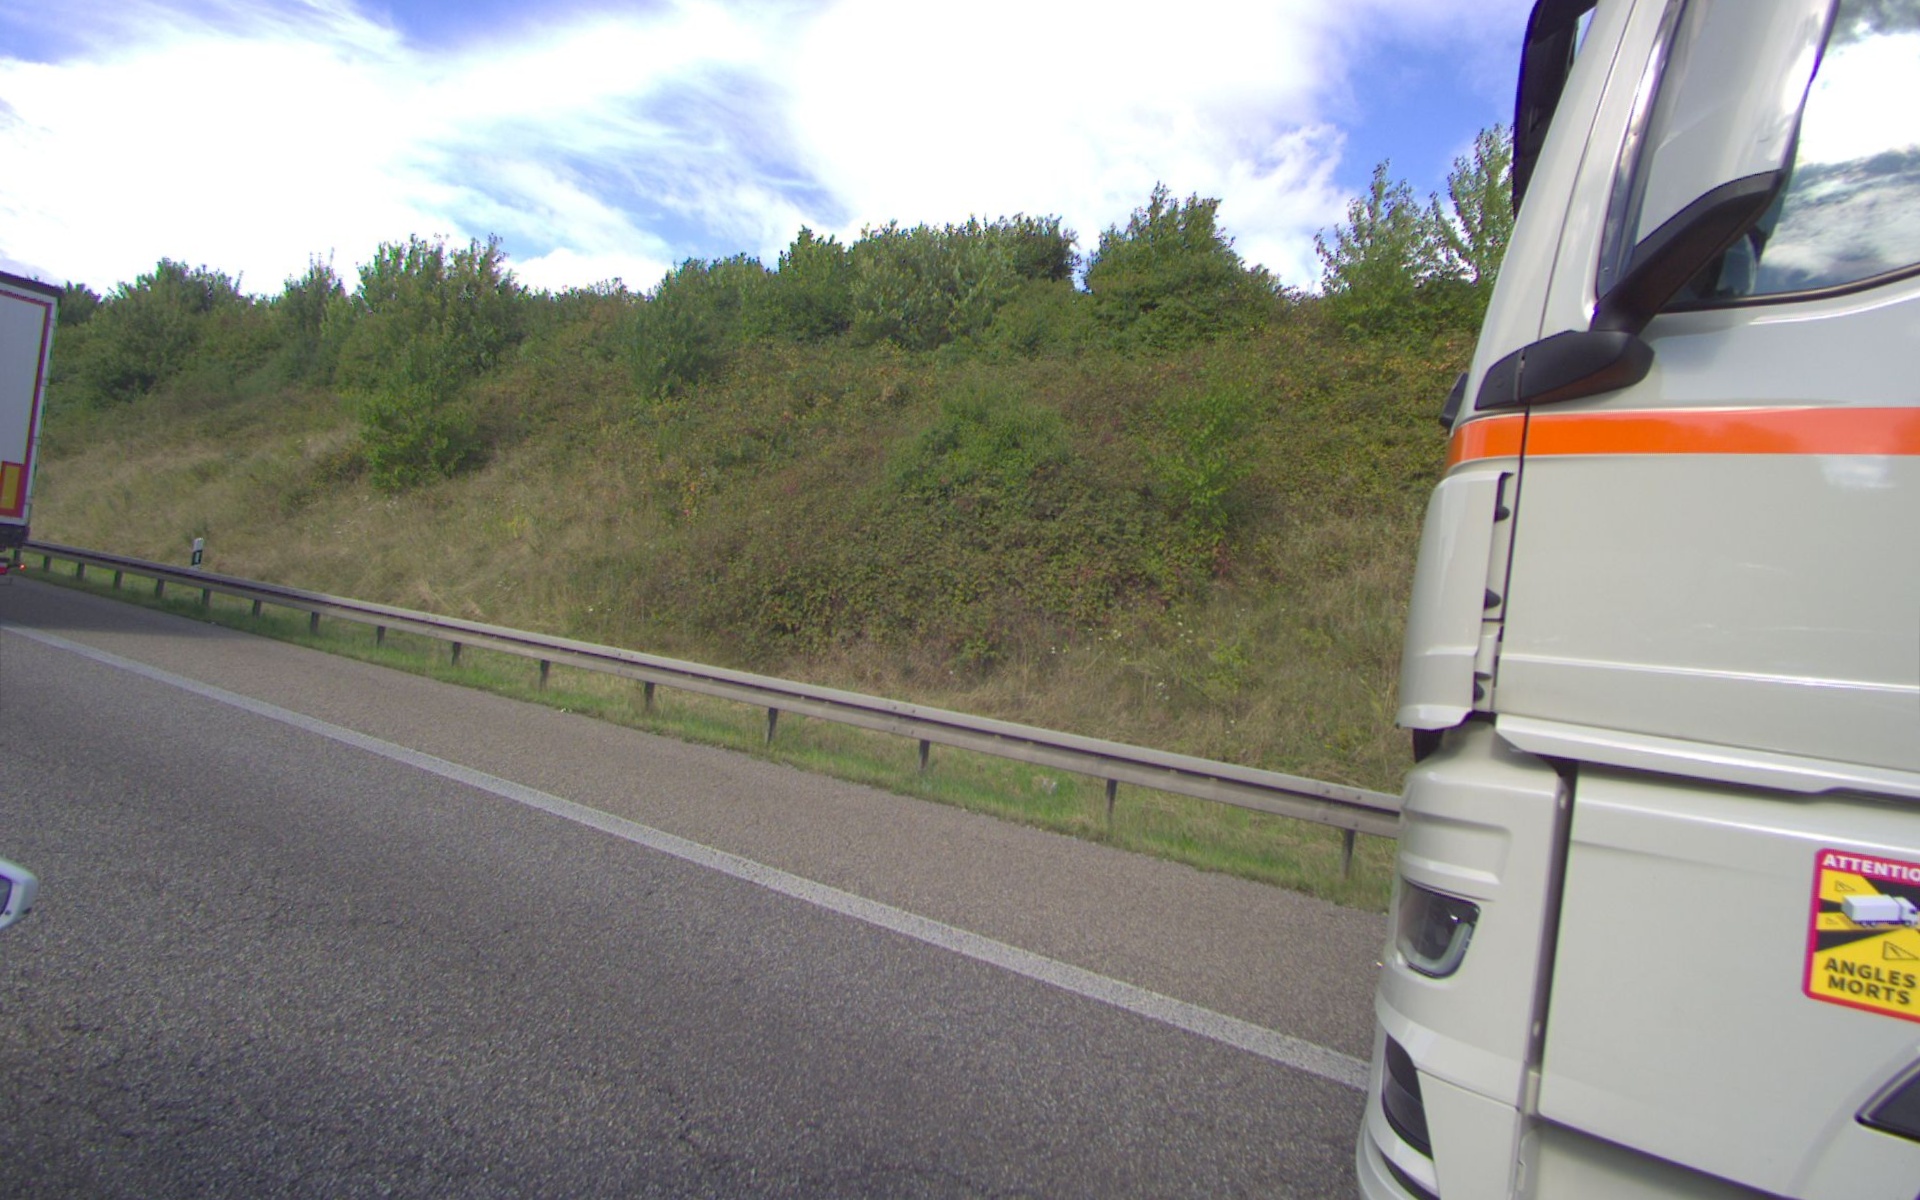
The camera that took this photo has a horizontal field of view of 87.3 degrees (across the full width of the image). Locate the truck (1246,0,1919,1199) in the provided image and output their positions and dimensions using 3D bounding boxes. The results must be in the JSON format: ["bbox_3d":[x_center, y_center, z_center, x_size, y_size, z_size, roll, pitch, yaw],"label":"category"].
[{"bbox_3d":[3.932,-0.069,1.611,5.808,4.091,2.806,7,-1,33],"label":"truck"}]

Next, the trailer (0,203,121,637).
[{"bbox_3d":[-16.531,-2.688,14.076,13.069,4.716,3.007,7,-1,32],"label":"trailer"}]
